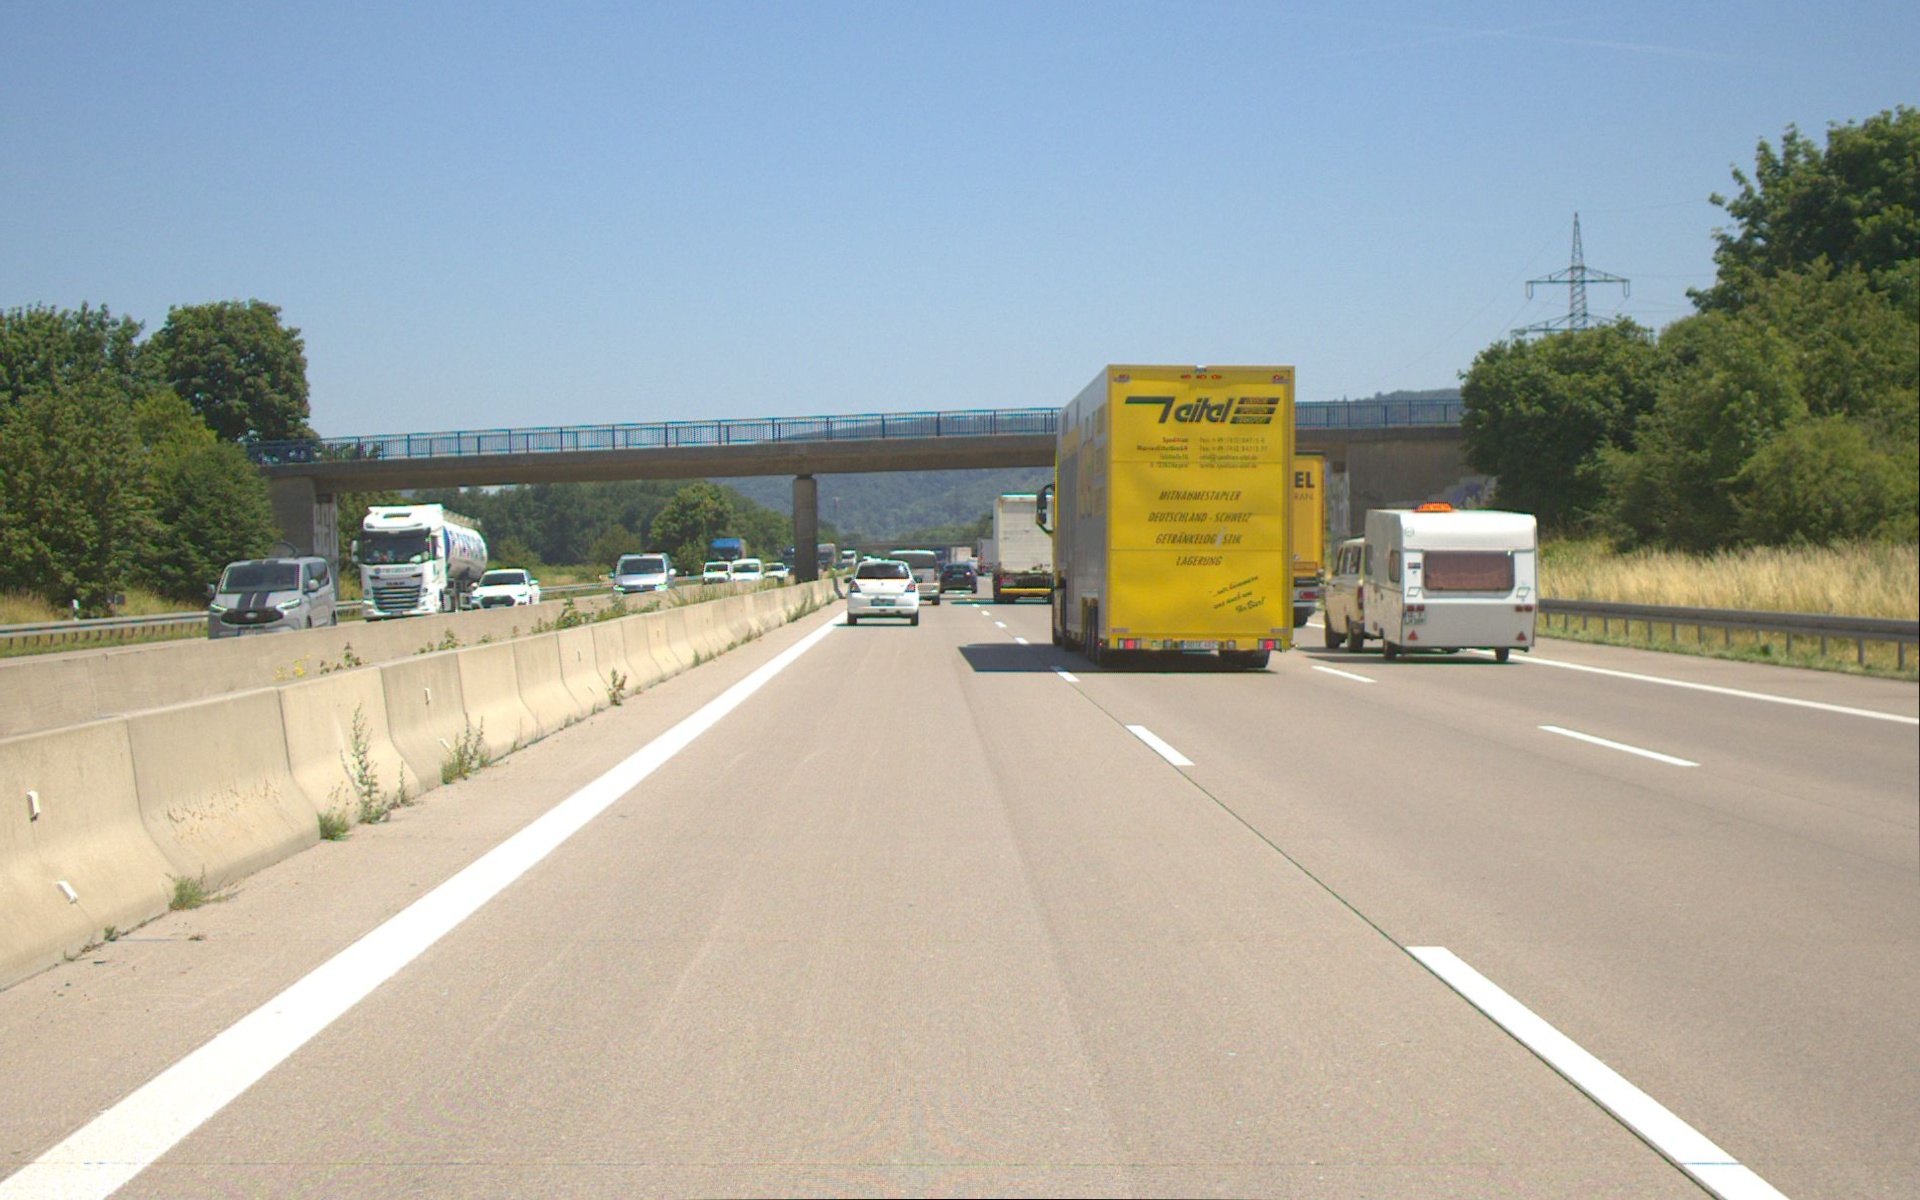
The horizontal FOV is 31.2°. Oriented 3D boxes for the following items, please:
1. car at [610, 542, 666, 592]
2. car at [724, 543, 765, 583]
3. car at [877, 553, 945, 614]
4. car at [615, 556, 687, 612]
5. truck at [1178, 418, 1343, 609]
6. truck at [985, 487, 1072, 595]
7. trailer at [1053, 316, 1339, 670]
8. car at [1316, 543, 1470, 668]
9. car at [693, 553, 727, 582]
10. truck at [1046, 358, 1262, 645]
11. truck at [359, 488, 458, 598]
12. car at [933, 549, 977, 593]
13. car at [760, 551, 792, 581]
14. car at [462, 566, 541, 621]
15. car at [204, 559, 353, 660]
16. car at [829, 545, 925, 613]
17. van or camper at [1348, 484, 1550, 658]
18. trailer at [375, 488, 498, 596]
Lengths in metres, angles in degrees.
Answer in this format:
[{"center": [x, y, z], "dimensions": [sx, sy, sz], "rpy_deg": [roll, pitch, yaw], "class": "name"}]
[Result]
[{"center": [-14.571, -1.498, 155.932], "dimensions": [1.993, 2.130, 5.882], "rpy_deg": [-2, 1, -1], "class": "car"}, {"center": [-11.334, -1.973, 181.012], "dimensions": [1.866, 1.973, 4.789], "rpy_deg": [-2, 1, -1], "class": "car"}, {"center": [-1.662, -0.587, 118.332], "dimensions": [2.254, 2.007, 4.298], "rpy_deg": [1, 1, 0], "class": "car"}, {"center": [-10.385, -0.556, 115.925], "dimensions": [1.993, 1.729, 5.115], "rpy_deg": [-2, 1, -1], "class": "car"}, {"center": [7.139, -2.048, 83.021], "dimensions": [2.999, 4.299, 9.684], "rpy_deg": [1, 1, -1], "class": "truck"}, {"center": [2.410, -2.112, 123.108], "dimensions": [2.820, 3.748, 6.284], "rpy_deg": [1, 1, -1], "class": "truck"}, {"center": [3.243, -1.510, 51.359], "dimensions": [3.216, 4.548, 13.457], "rpy_deg": [1, 1, 0], "class": "trailer"}, {"center": [7.249, 0.053, 57.901], "dimensions": [1.993, 2.007, 4.000], "rpy_deg": [1, 1, -1], "class": "car"}, {"center": [-16.167, -2.133, 222.418], "dimensions": [1.993, 1.800, 4.000], "rpy_deg": [1, 1, -1], "class": "car"}, {"center": [3.184, -1.633, 58.026], "dimensions": [3.216, 4.548, 5.836], "rpy_deg": [1, 1, 0], "class": "truck"}, {"center": [-18.500, -1.914, 115.504], "dimensions": [2.601, 3.576, 4.720], "rpy_deg": [1, 1, -1], "class": "truck"}, {"center": [-0.244, -1.388, 163.426], "dimensions": [1.993, 2.007, 4.000], "rpy_deg": [1, 1, -1], "class": "car"}, {"center": [-11.712, -2.157, 218.935], "dimensions": [1.866, 1.833, 4.789], "rpy_deg": [-1, 1, -1], "class": "car"}, {"center": [-14.680, -0.221, 110.306], "dimensions": [1.923, 1.606, 4.686], "rpy_deg": [-2, 1, -1], "class": "car"}, {"center": [-14.169, 0.165, 71.799], "dimensions": [1.993, 1.933, 5.690], "rpy_deg": [-2, 1, -1], "class": "car"}, {"center": [-1.935, -0.525, 81.288], "dimensions": [2.107, 1.530, 4.122], "rpy_deg": [1, 1, 1], "class": "car"}, {"center": [7.477, -0.472, 53.127], "dimensions": [2.224, 2.522, 5.431], "rpy_deg": [1, 1, -1], "class": "van or camper"}, {"center": [-18.588, -2.085, 122.824], "dimensions": [2.573, 3.618, 12.857], "rpy_deg": [1, 1, -1], "class": "trailer"}]
